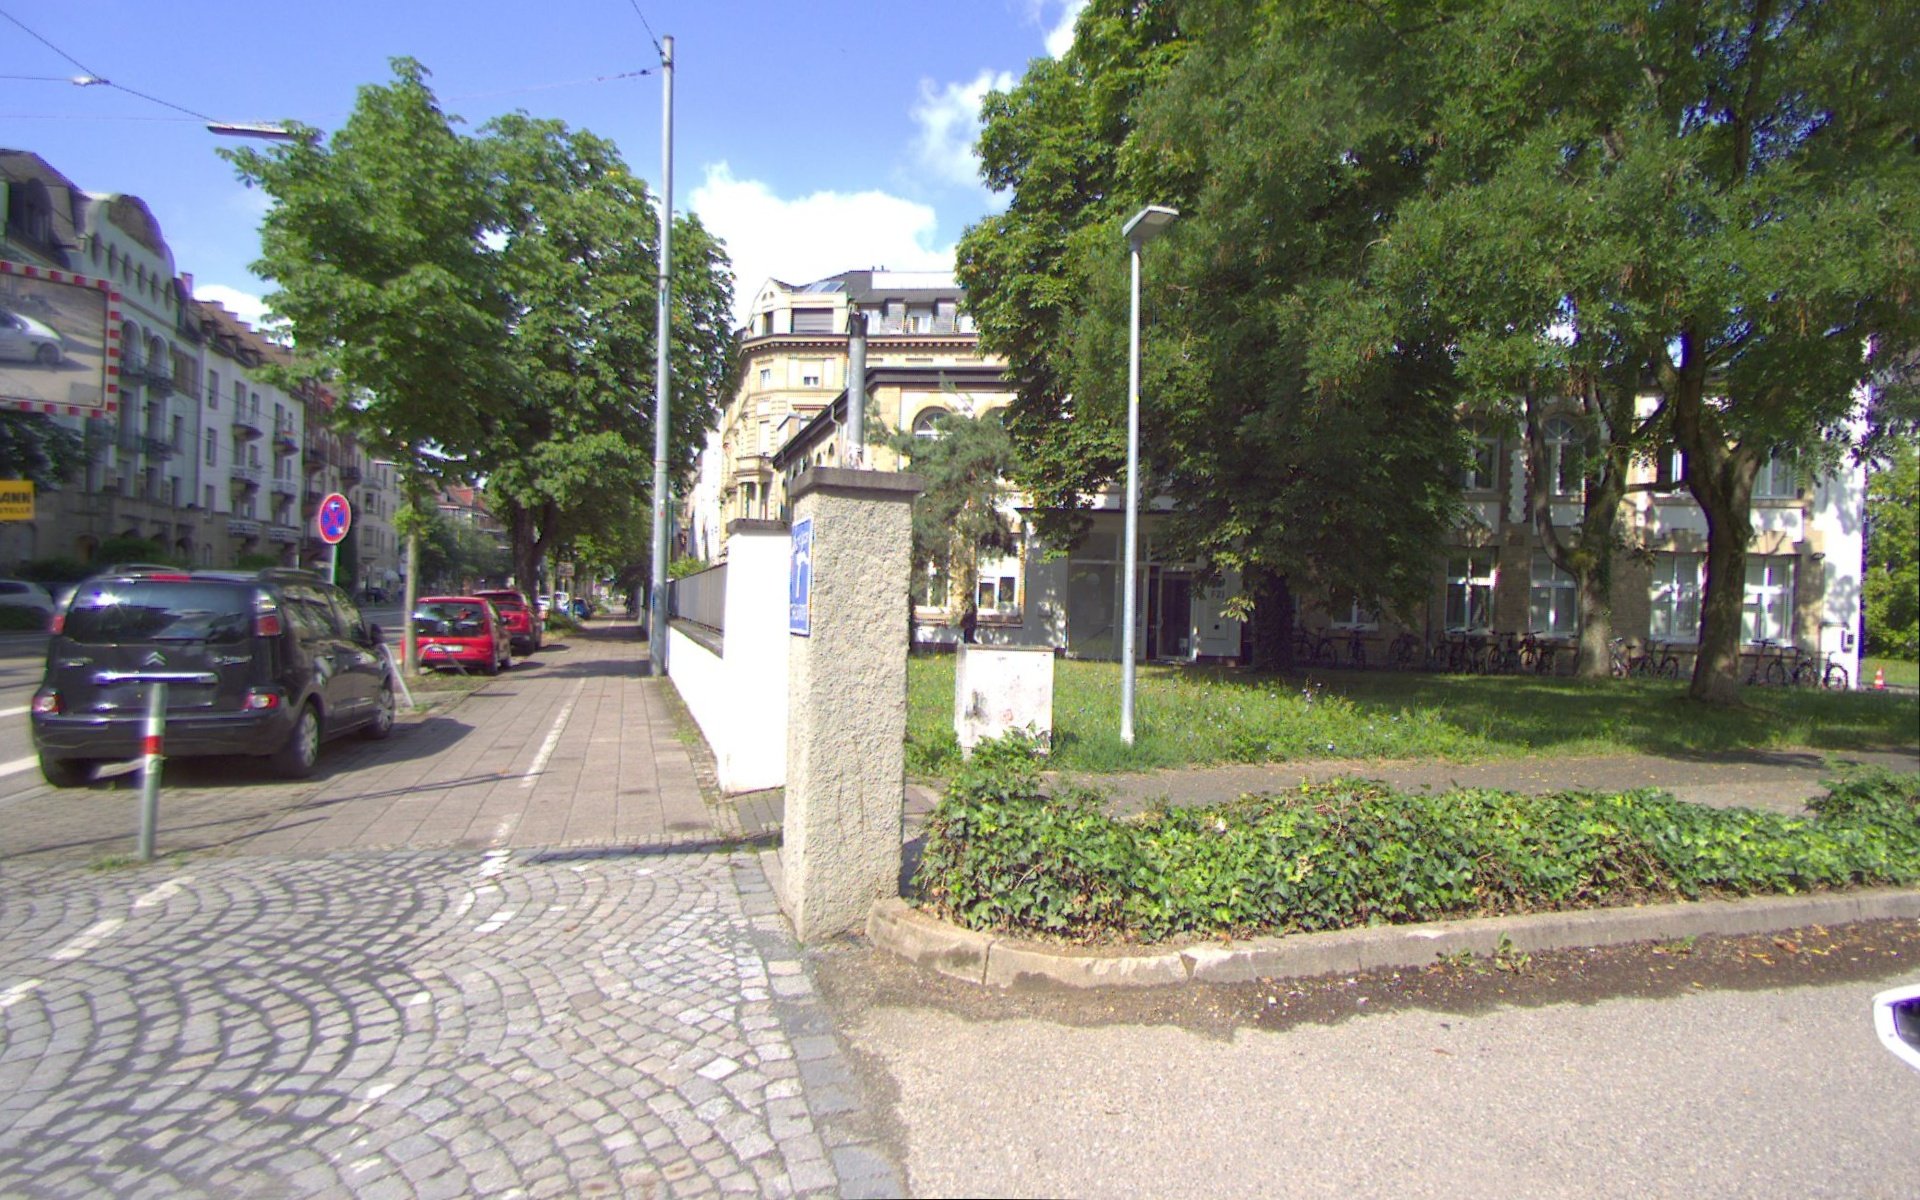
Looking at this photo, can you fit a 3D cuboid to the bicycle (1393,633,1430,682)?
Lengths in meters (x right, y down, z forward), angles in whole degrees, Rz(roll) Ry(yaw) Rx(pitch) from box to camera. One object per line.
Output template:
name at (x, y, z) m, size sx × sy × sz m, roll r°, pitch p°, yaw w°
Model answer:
bicycle at (11.186, 1.406, 24.937) m, size 0.411 × 1.070 × 2.068 m, roll 0°, pitch 1°, yaw 12°

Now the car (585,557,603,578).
car at (-37.088, -3.279, 101.798) m, size 1.601 × 2.027 × 3.549 m, roll 2°, pitch 1°, yaw -19°

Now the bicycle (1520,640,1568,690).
bicycle at (14.276, 1.563, 24.604) m, size 0.411 × 1.070 × 2.068 m, roll 0°, pitch 1°, yaw 12°

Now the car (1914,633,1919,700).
car at (30.798, 1.991, 28.675) m, size 4.854 × 1.990 × 2.002 m, roll 1°, pitch -1°, yaw 10°

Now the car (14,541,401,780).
car at (-6.218, 0.399, 8.811) m, size 1.653 × 1.633 × 3.569 m, roll -1°, pitch 0°, yaw -19°

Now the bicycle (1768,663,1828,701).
bicycle at (19.802, 1.919, 23.769) m, size 0.314 × 0.715 × 1.860 m, roll 3°, pitch 1°, yaw 15°

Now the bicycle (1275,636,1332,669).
bicycle at (9.001, 1.372, 26.365) m, size 1.365 × 0.832 × 0.420 m, roll -1°, pitch 1°, yaw 10°

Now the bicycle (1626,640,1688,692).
bicycle at (16.773, 1.568, 24.213) m, size 0.411 × 1.070 × 2.068 m, roll 3°, pitch 1°, yaw 13°

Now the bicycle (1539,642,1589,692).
bicycle at (14.789, 1.606, 24.646) m, size 0.411 × 1.070 × 2.068 m, roll 0°, pitch 1°, yaw 12°

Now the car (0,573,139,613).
car at (-32.409, -0.233, 36.411) m, size 1.610 × 1.324 × 3.777 m, roll 4°, pitch 1°, yaw 32°

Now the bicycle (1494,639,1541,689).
bicycle at (13.628, 1.540, 24.592) m, size 0.411 × 1.070 × 2.068 m, roll 0°, pitch 1°, yaw 12°

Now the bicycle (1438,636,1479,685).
bicycle at (12.238, 1.468, 24.723) m, size 0.411 × 1.070 × 2.068 m, roll 0°, pitch 1°, yaw 12°

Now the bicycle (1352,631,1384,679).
bicycle at (10.213, 1.351, 25.187) m, size 0.411 × 1.070 × 2.068 m, roll 0°, pitch 1°, yaw 12°

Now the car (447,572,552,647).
car at (-12.025, 0.185, 26.480) m, size 1.935 × 1.729 × 3.984 m, roll 2°, pitch 1°, yaw -17°

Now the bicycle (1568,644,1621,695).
bicycle at (15.317, 1.643, 24.292) m, size 0.411 × 1.070 × 2.068 m, roll 0°, pitch 1°, yaw 12°

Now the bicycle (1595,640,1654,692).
bicycle at (16.068, 1.580, 24.332) m, size 0.411 × 1.070 × 2.068 m, roll 3°, pitch 1°, yaw 13°

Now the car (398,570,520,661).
car at (-9.851, 0.245, 20.000) m, size 1.653 × 1.633 × 3.569 m, roll -1°, pitch 1°, yaw -19°

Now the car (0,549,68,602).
car at (-30.428, -0.754, 31.286) m, size 1.605 × 1.599 × 3.595 m, roll 2°, pitch 4°, yaw 32°

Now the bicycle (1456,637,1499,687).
bicycle at (12.705, 1.494, 24.703) m, size 0.411 × 1.070 × 2.068 m, roll 0°, pitch 1°, yaw 12°

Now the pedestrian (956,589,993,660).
pedestrian at (0.369, 0.606, 25.111) m, size 0.757 × 1.700 × 0.809 m, roll 3°, pitch 2°, yaw 8°

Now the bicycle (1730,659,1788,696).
bicycle at (19.029, 1.832, 23.954) m, size 0.314 × 0.715 × 1.860 m, roll 3°, pitch 1°, yaw 15°

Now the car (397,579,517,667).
car at (-9.788, 0.384, 19.769) m, size 1.646 × 1.506 × 3.265 m, roll 0°, pitch 2°, yaw -18°

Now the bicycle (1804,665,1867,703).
bicycle at (20.709, 1.963, 23.792) m, size 0.314 × 0.715 × 1.860 m, roll 3°, pitch 1°, yaw 15°
